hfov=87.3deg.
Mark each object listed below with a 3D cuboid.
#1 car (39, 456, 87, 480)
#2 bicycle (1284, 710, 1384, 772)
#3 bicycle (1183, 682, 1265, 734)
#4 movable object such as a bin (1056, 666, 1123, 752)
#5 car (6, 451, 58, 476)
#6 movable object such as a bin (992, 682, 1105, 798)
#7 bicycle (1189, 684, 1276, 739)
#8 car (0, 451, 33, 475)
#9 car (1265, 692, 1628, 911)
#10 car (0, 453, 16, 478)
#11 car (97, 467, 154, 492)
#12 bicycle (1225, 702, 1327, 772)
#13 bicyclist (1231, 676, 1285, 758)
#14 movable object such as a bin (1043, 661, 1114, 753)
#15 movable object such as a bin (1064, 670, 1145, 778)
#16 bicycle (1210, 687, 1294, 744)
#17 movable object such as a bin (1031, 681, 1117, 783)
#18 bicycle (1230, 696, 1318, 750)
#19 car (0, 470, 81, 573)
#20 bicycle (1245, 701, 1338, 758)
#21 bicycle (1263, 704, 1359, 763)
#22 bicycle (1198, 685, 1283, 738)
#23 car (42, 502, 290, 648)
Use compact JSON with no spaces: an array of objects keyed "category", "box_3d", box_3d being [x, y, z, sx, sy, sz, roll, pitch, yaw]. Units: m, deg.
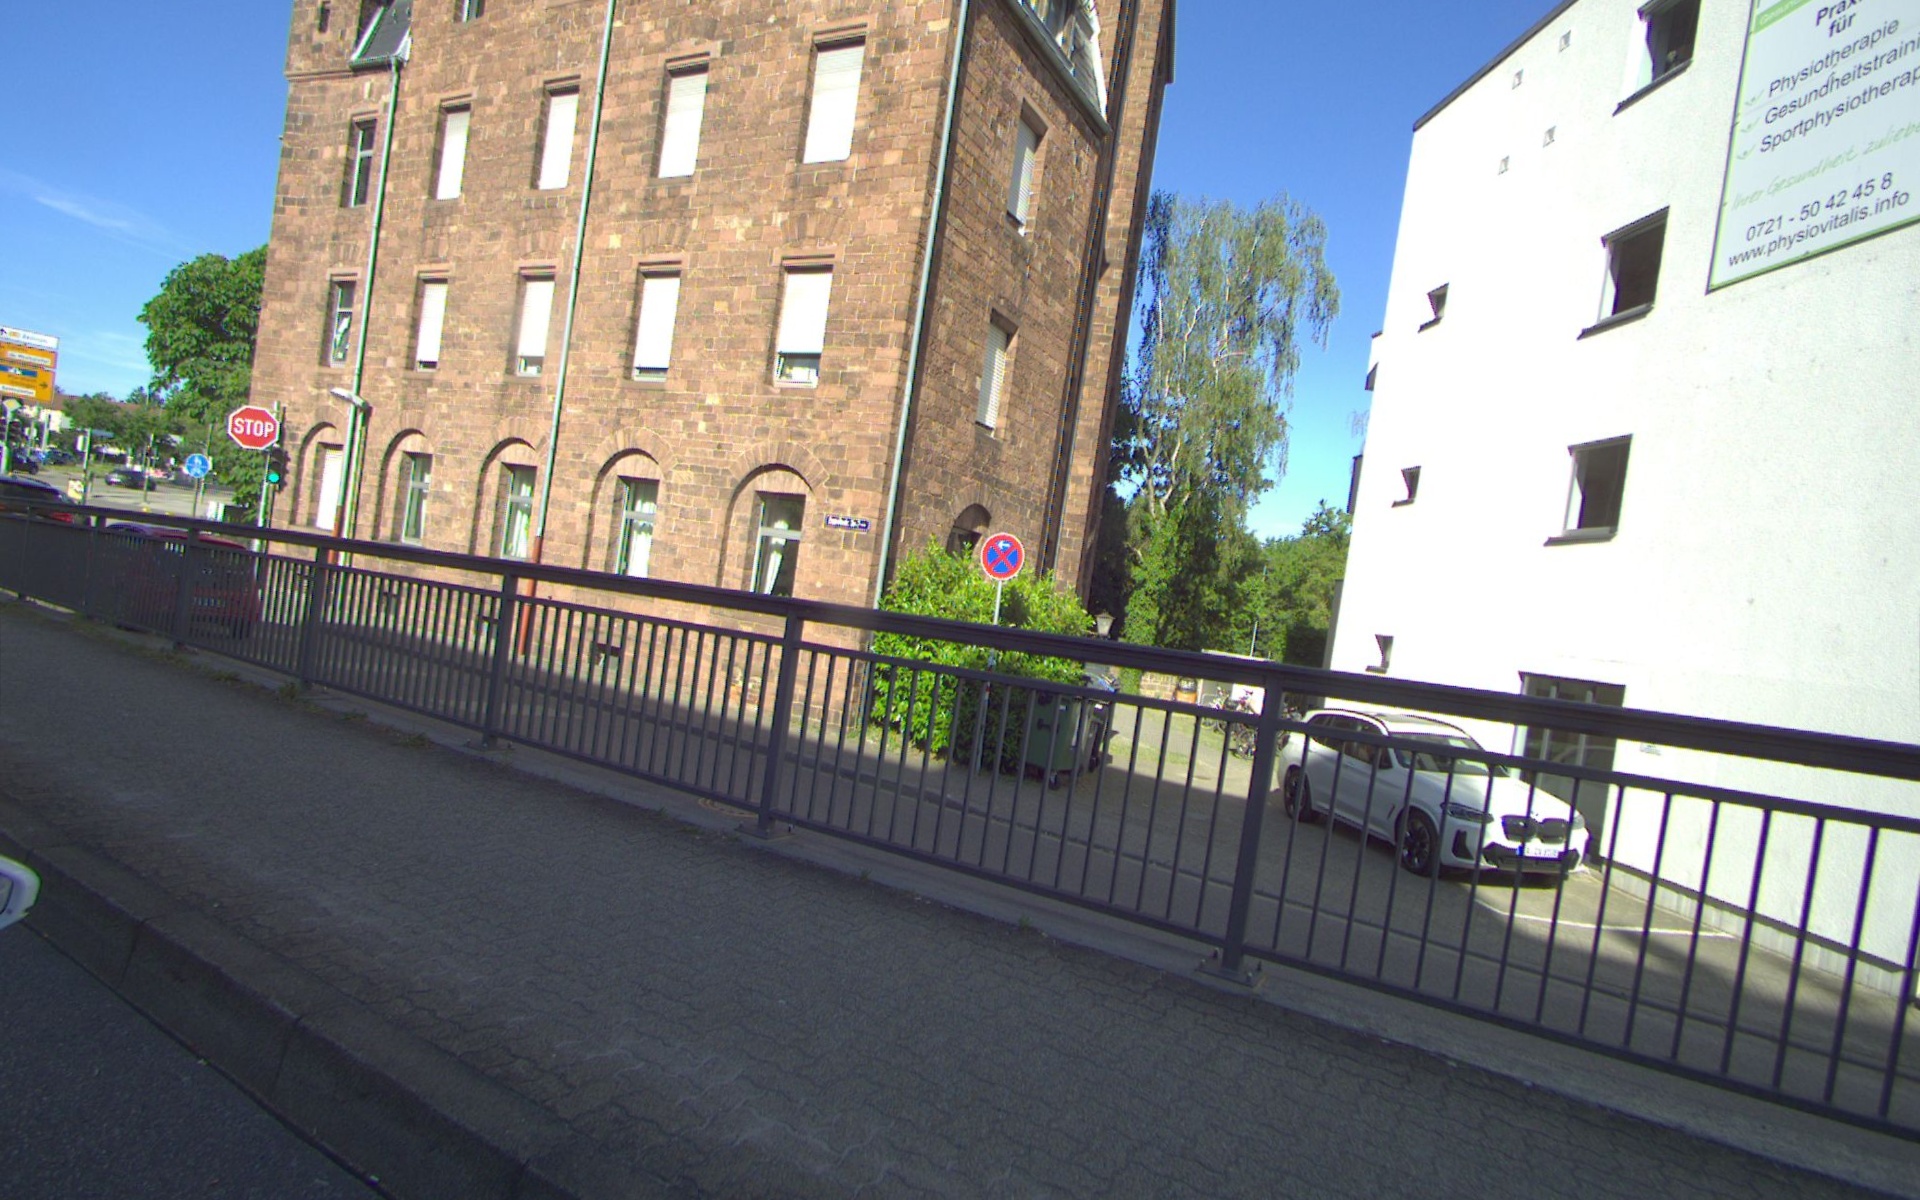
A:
[{"category":"car","box_3d":[-82.308,-12.101,92.343,1.860,1.598,3.978,8,1,-22]},{"category":"bicycle","box_3d":[8.338,3.141,22.445,1.889,1.065,0.664,8,1,-6]},{"category":"bicycle","box_3d":[7.668,3.138,29.260,2.075,1.174,0.664,8,1,-9]},{"category":"movable object such as a bin","box_3d":[2.650,2.185,20.453,1.009,1.539,1.007,10,0,14]},{"category":"car","box_3d":[-79.890,-11.737,86.641,1.860,1.598,3.978,8,1,-22]},{"category":"movable object such as a bin","box_3d":[1.196,1.854,13.513,1.011,1.307,1.005,10,0,29]},{"category":"bicycle","box_3d":[7.410,3.030,27.375,2.075,1.174,0.664,8,1,-9]},{"category":"car","box_3d":[-65.749,-9.507,68.264,1.755,1.374,4.075,9,1,1]},{"category":"car","box_3d":[5.974,2.407,13.133,1.814,1.707,4.521,8,0,-9]},{"category":"car","box_3d":[-62.360,-8.731,62.818,1.963,1.459,4.821,9,1,3]},{"category":"car","box_3d":[-63.445,-9.147,76.547,1.974,1.459,4.269,8,2,-22]},{"category":"bicycle","box_3d":[6.705,2.895,21.389,1.807,1.155,0.689,8,2,-6]},{"category":"bicyclist","box_3d":[6.475,2.534,21.884,0.684,1.627,0.687,9,0,-6]},{"category":"movable object such as a bin","box_3d":[2.289,2.020,19.263,1.009,1.539,1.007,10,0,14]},{"category":"movable object such as a bin","box_3d":[2.405,2.019,16.657,1.009,1.539,1.007,10,0,14]},{"category":"bicycle","box_3d":[7.672,3.028,26.442,1.889,1.174,0.664,8,1,-6]},{"category":"movable object such as a bin","box_3d":[1.764,2.002,15.476,1.009,1.307,1.007,10,0,14]},{"category":"bicycle","box_3d":[7.873,3.085,25.275,1.889,1.065,0.664,8,1,-6]},{"category":"car","box_3d":[-20.296,-1.761,20.903,4.226,1.832,1.726,6,-3,32]},{"category":"bicycle","box_3d":[7.978,3.117,24.247,1.889,1.065,0.664,8,1,-6]},{"category":"bicycle","box_3d":[8.133,3.097,23.359,1.889,1.065,0.664,8,1,-6]},{"category":"bicycle","box_3d":[7.912,3.137,28.407,2.075,1.174,0.664,8,1,-9]},{"category":"car","box_3d":[-11.878,-0.384,15.023,3.427,1.540,1.724,10,1,32]}]
